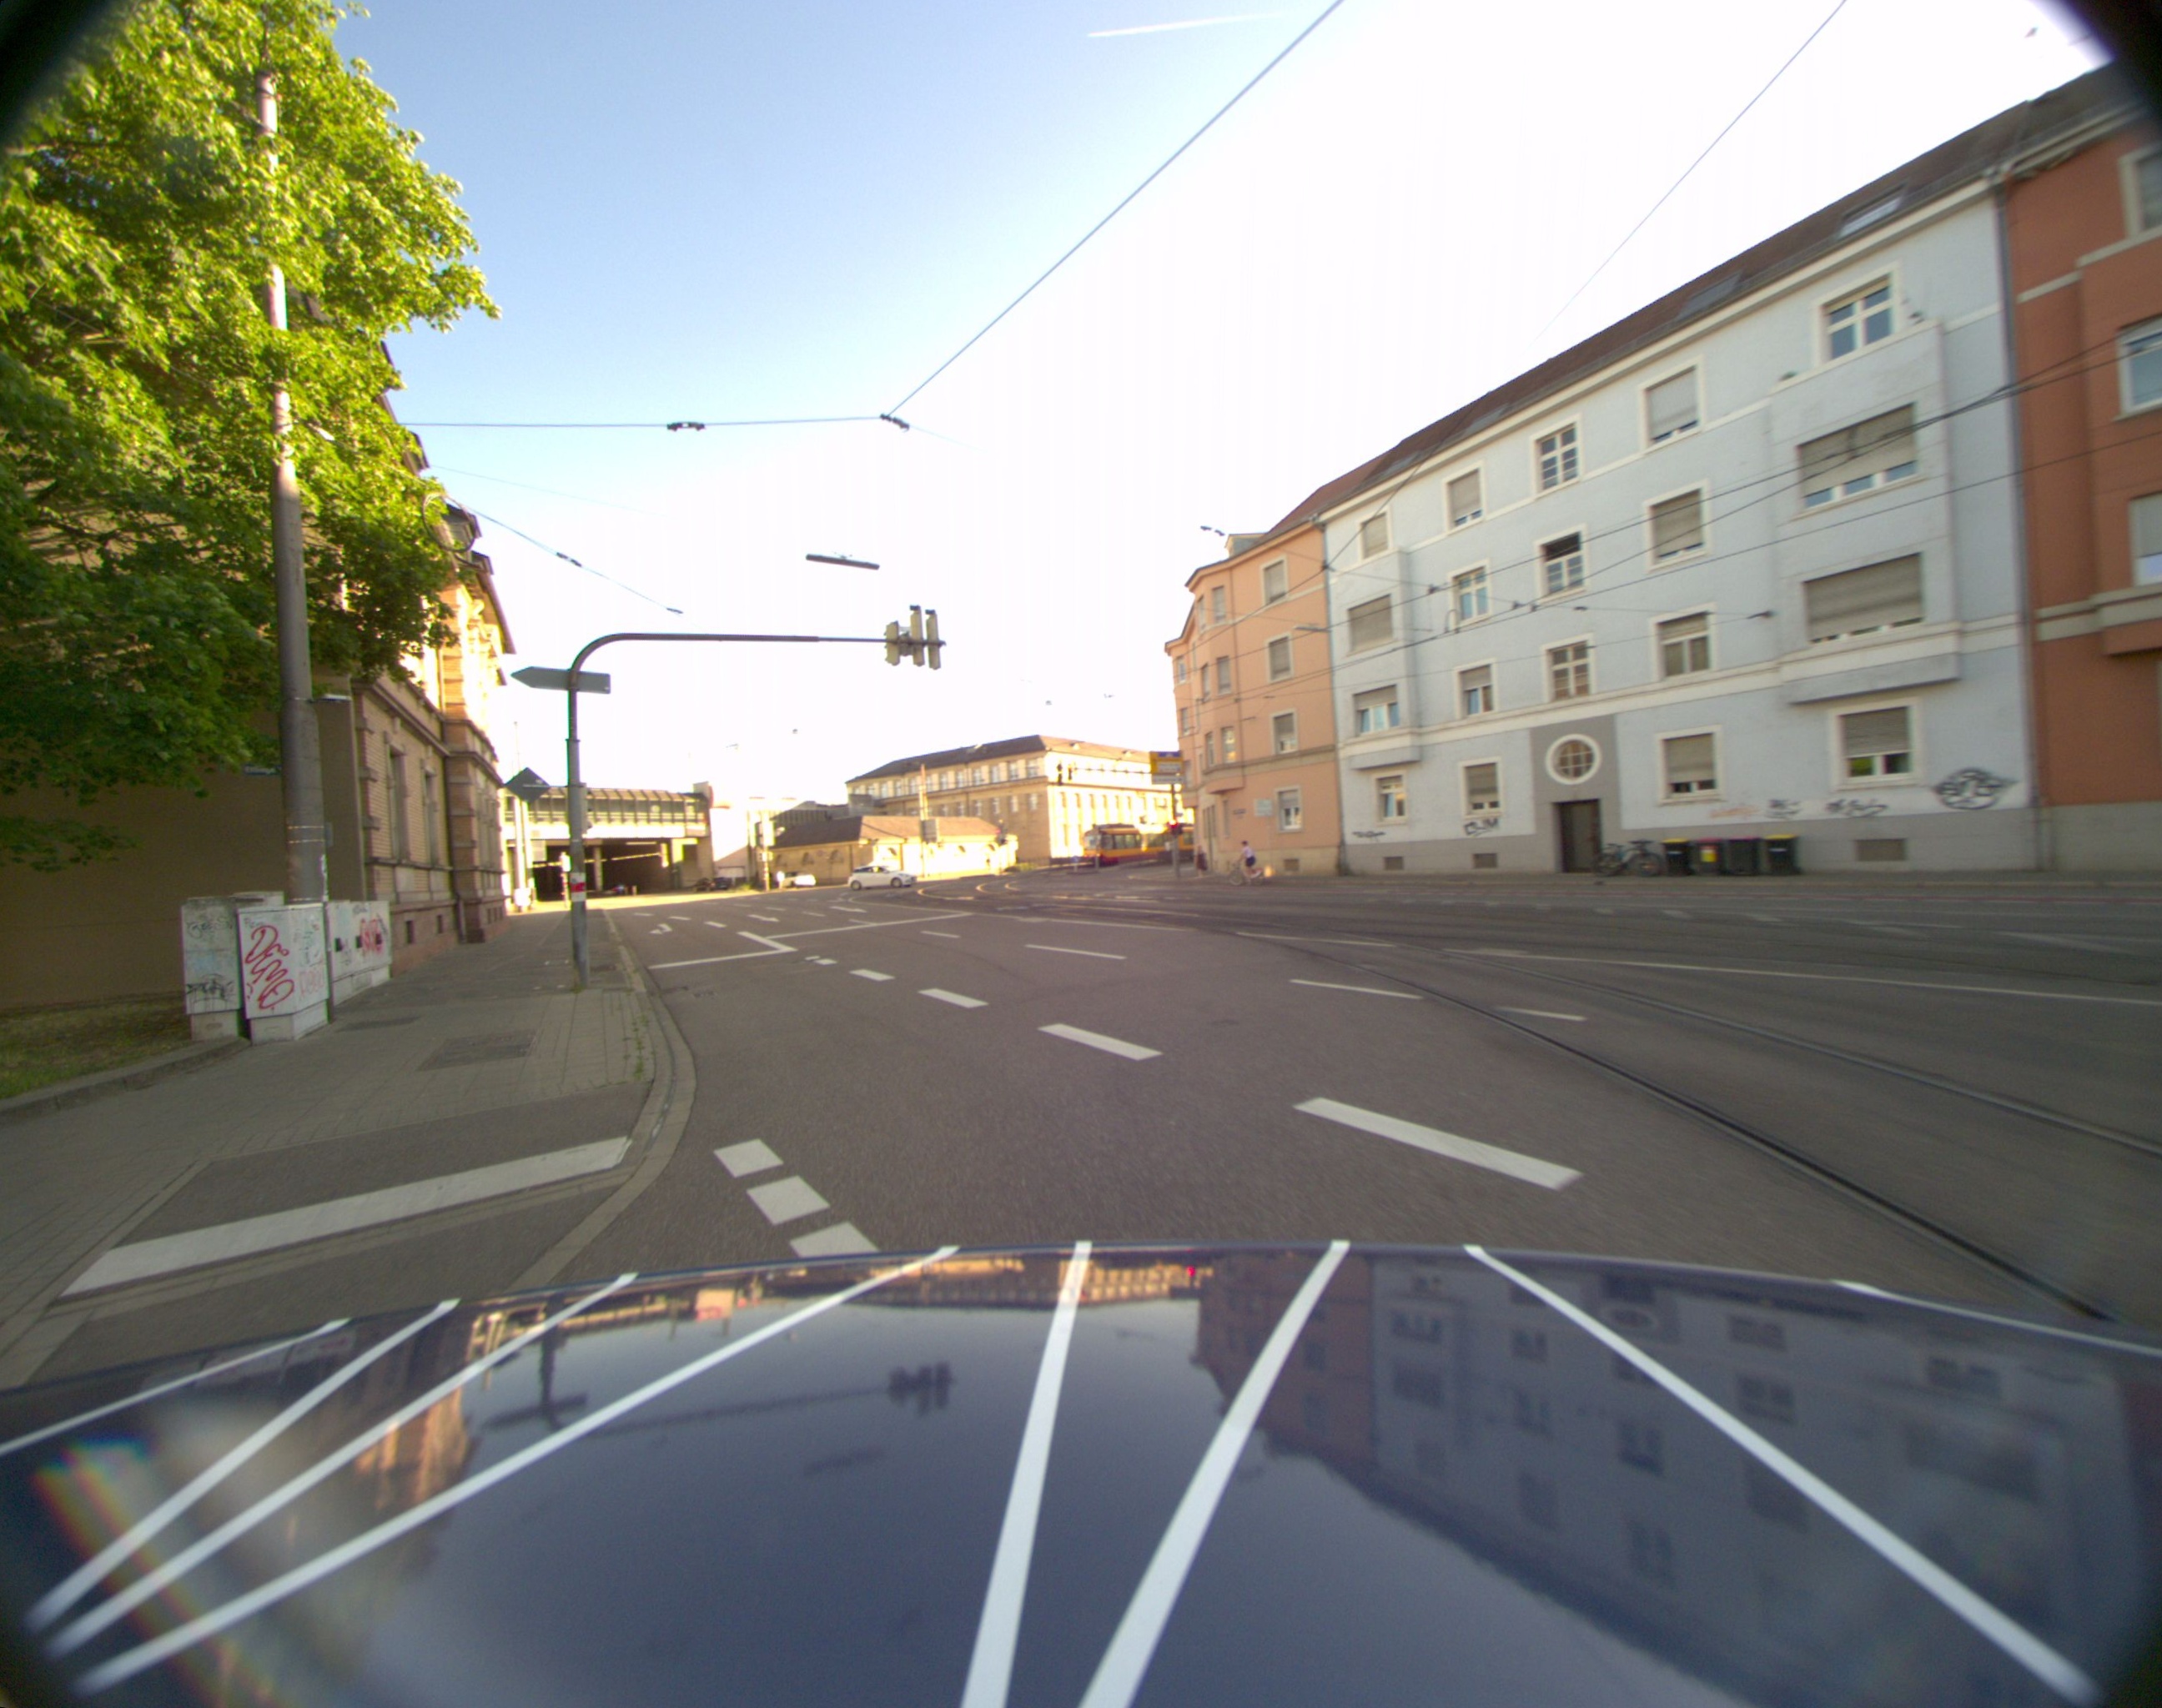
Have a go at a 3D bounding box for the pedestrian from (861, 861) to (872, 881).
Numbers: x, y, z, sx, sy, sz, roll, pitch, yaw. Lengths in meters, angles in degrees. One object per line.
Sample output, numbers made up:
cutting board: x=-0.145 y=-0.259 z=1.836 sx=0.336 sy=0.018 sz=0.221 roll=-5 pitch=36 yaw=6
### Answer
pedestrian: x=-18.087 y=1.469 z=64.157 sx=0.624 sy=1.630 sz=0.515 roll=-3 pitch=1 yaw=9

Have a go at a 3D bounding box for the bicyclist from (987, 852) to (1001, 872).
bicyclist: x=-7.720 y=0.705 z=67.754 sx=0.676 sy=1.630 sz=0.941 roll=-3 pitch=2 yaw=31

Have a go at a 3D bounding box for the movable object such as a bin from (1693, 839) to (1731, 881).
movable object such as a bin: x=17.223 y=0.165 z=20.752 sx=0.705 sy=1.100 sz=0.581 roll=-4 pitch=1 yaw=-33

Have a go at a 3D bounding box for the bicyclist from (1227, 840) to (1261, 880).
bicyclist: x=6.920 y=0.274 z=32.301 sx=0.750 sy=1.633 sz=1.123 roll=-4 pitch=1 yaw=-33

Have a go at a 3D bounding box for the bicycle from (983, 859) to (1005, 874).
bicycle: x=-7.736 y=1.081 z=67.702 sx=0.684 sy=1.130 sz=2.077 roll=-3 pitch=2 yaw=30

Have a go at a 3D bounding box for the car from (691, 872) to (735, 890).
car: x=-34.080 y=2.469 z=70.306 sx=4.486 sy=1.447 sz=1.932 roll=-3 pitch=1 yaw=40

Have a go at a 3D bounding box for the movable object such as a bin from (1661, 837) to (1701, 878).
movable object such as a bin: x=16.835 y=0.103 z=21.317 sx=0.705 sy=1.100 sz=0.647 roll=-4 pitch=1 yaw=-33

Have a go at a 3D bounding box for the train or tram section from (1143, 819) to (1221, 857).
train or tram section: x=10.710 y=-1.747 z=79.439 sx=3.157 sy=3.337 sz=10.698 roll=-3 pitch=2 yaw=36

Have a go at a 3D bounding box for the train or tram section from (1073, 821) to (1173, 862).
train or tram section: x=4.175 y=-1.268 z=70.348 sx=3.159 sy=3.302 sz=11.839 roll=-3 pitch=1 yaw=36

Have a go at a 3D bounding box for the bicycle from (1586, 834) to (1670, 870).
bicycle: x=16.135 y=-0.038 z=22.453 sx=0.608 sy=0.974 sz=1.872 roll=-5 pitch=2 yaw=-33

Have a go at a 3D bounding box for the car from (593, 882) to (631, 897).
car: x=-51.586 y=3.920 z=83.499 sx=4.549 sy=1.384 sz=2.004 roll=-3 pitch=1 yaw=38

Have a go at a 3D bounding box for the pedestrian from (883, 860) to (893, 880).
pedestrian: x=-16.048 y=1.316 z=63.176 sx=0.624 sy=1.630 sz=0.489 roll=-3 pitch=1 yaw=9

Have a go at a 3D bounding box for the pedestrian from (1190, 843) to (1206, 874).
pedestrian: x=5.997 y=0.235 z=38.954 sx=0.677 sy=1.554 sz=0.720 roll=-3 pitch=1 yaw=2

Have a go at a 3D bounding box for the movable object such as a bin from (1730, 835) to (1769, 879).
movable object such as a bin: x=17.662 y=0.076 z=20.075 sx=0.705 sy=1.100 sz=0.581 roll=-4 pitch=1 yaw=-33

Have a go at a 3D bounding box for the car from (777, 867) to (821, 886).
car: x=-22.340 y=1.802 z=60.215 sx=3.525 sy=1.367 sz=1.735 roll=-3 pitch=0 yaw=41

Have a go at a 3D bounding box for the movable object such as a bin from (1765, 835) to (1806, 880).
movable object such as a bin: x=18.016 y=0.083 z=19.431 sx=0.705 sy=1.100 sz=0.581 roll=-4 pitch=1 yaw=-33

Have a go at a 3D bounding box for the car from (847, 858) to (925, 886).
car: x=-11.658 y=1.076 z=45.622 sx=4.100 sy=1.386 sz=1.793 roll=-3 pitch=1 yaw=7

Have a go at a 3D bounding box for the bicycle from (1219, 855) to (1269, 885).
bicycle: x=6.921 y=0.682 z=32.327 sx=0.750 sy=1.184 sz=2.147 roll=-4 pitch=1 yaw=-32
